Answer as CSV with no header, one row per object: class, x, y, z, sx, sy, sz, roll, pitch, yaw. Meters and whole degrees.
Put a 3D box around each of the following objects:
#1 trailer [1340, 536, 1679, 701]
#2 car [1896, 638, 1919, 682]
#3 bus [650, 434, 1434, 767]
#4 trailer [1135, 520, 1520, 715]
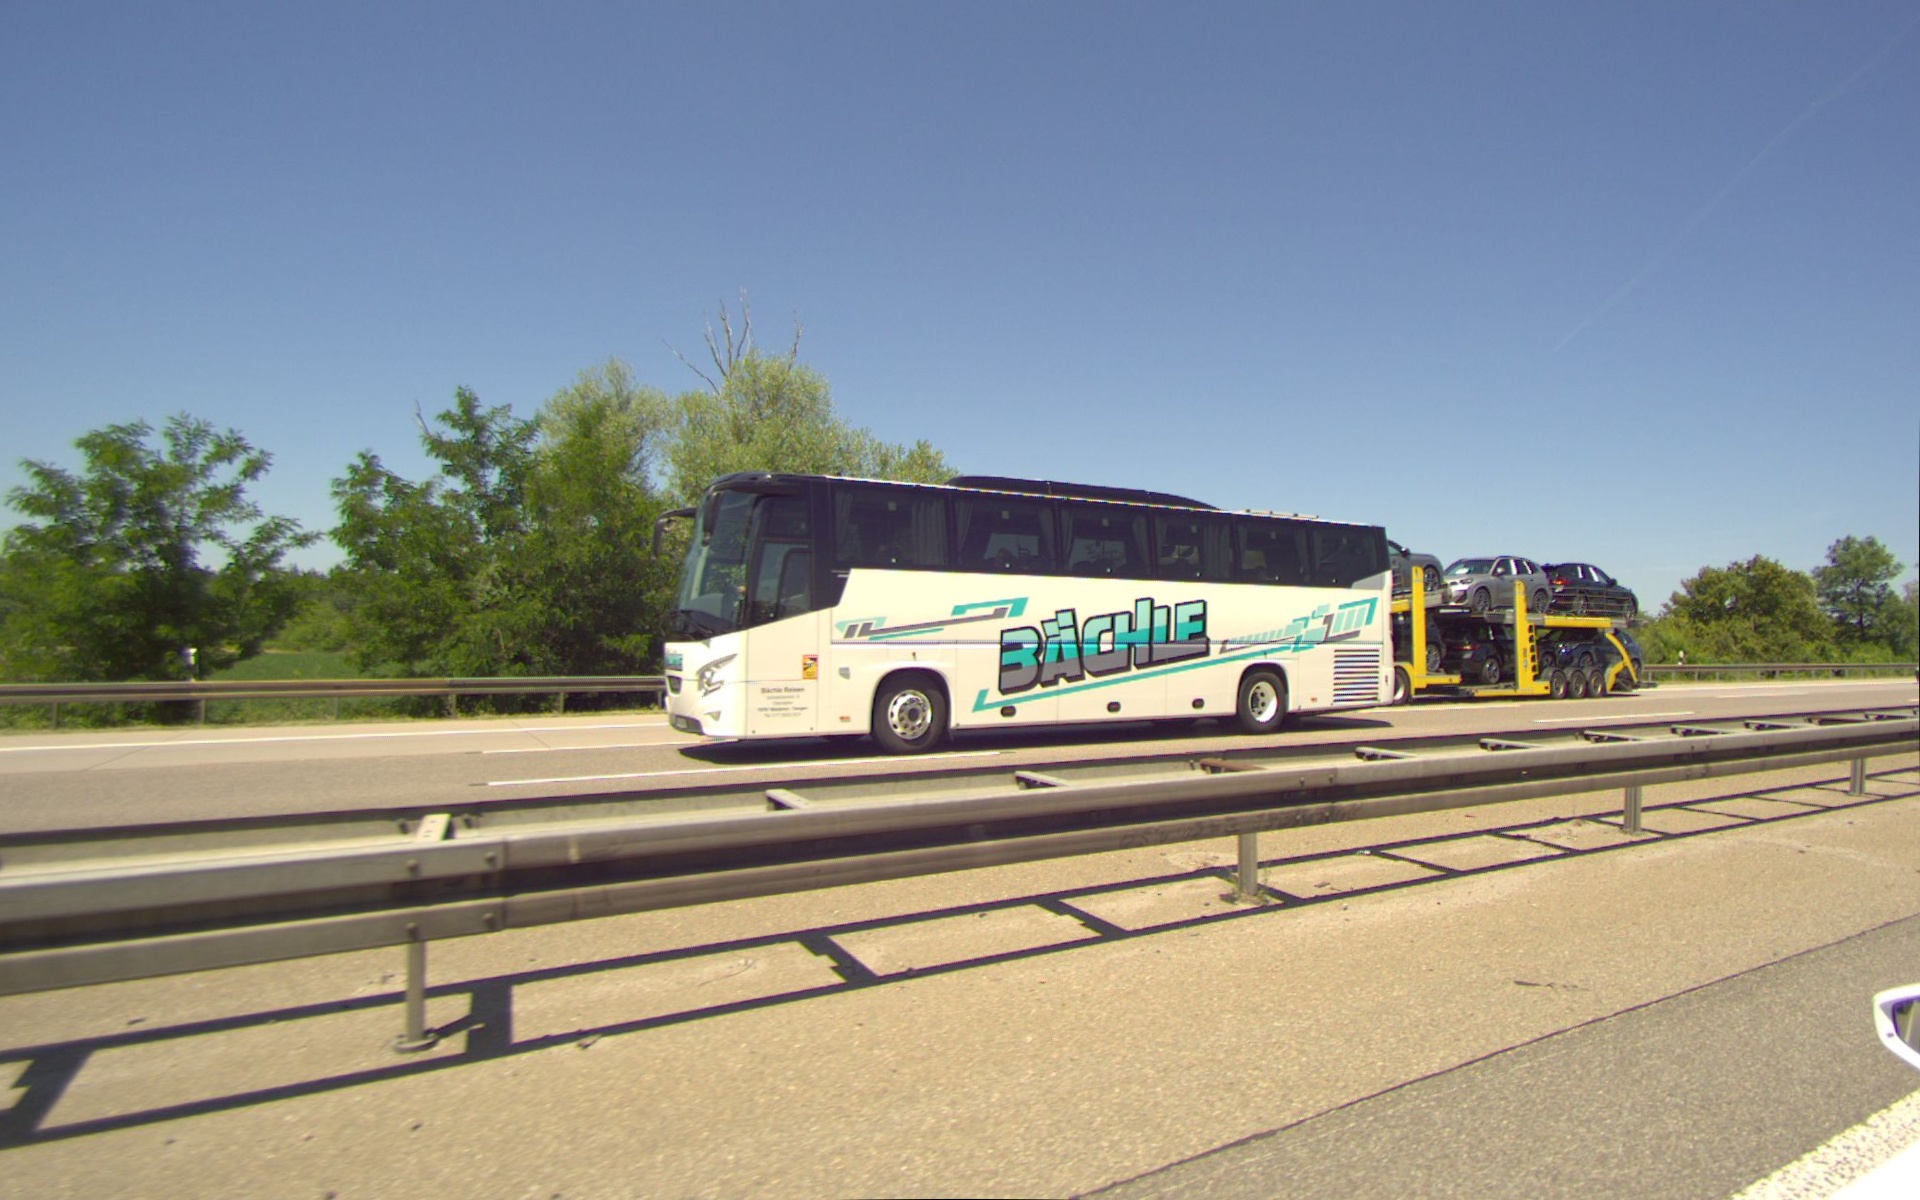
trailer,15.873,0.662,28.542,11.514,4.019,2.908,2,-3,-30
car,43.474,2.619,44.306,4.530,1.896,1.984,2,-5,-31
bus,2.030,0.220,15.315,12.643,3.630,2.682,2,-3,-30
trailer,9.281,0.557,24.674,10.413,4.019,2.908,2,-3,-30
